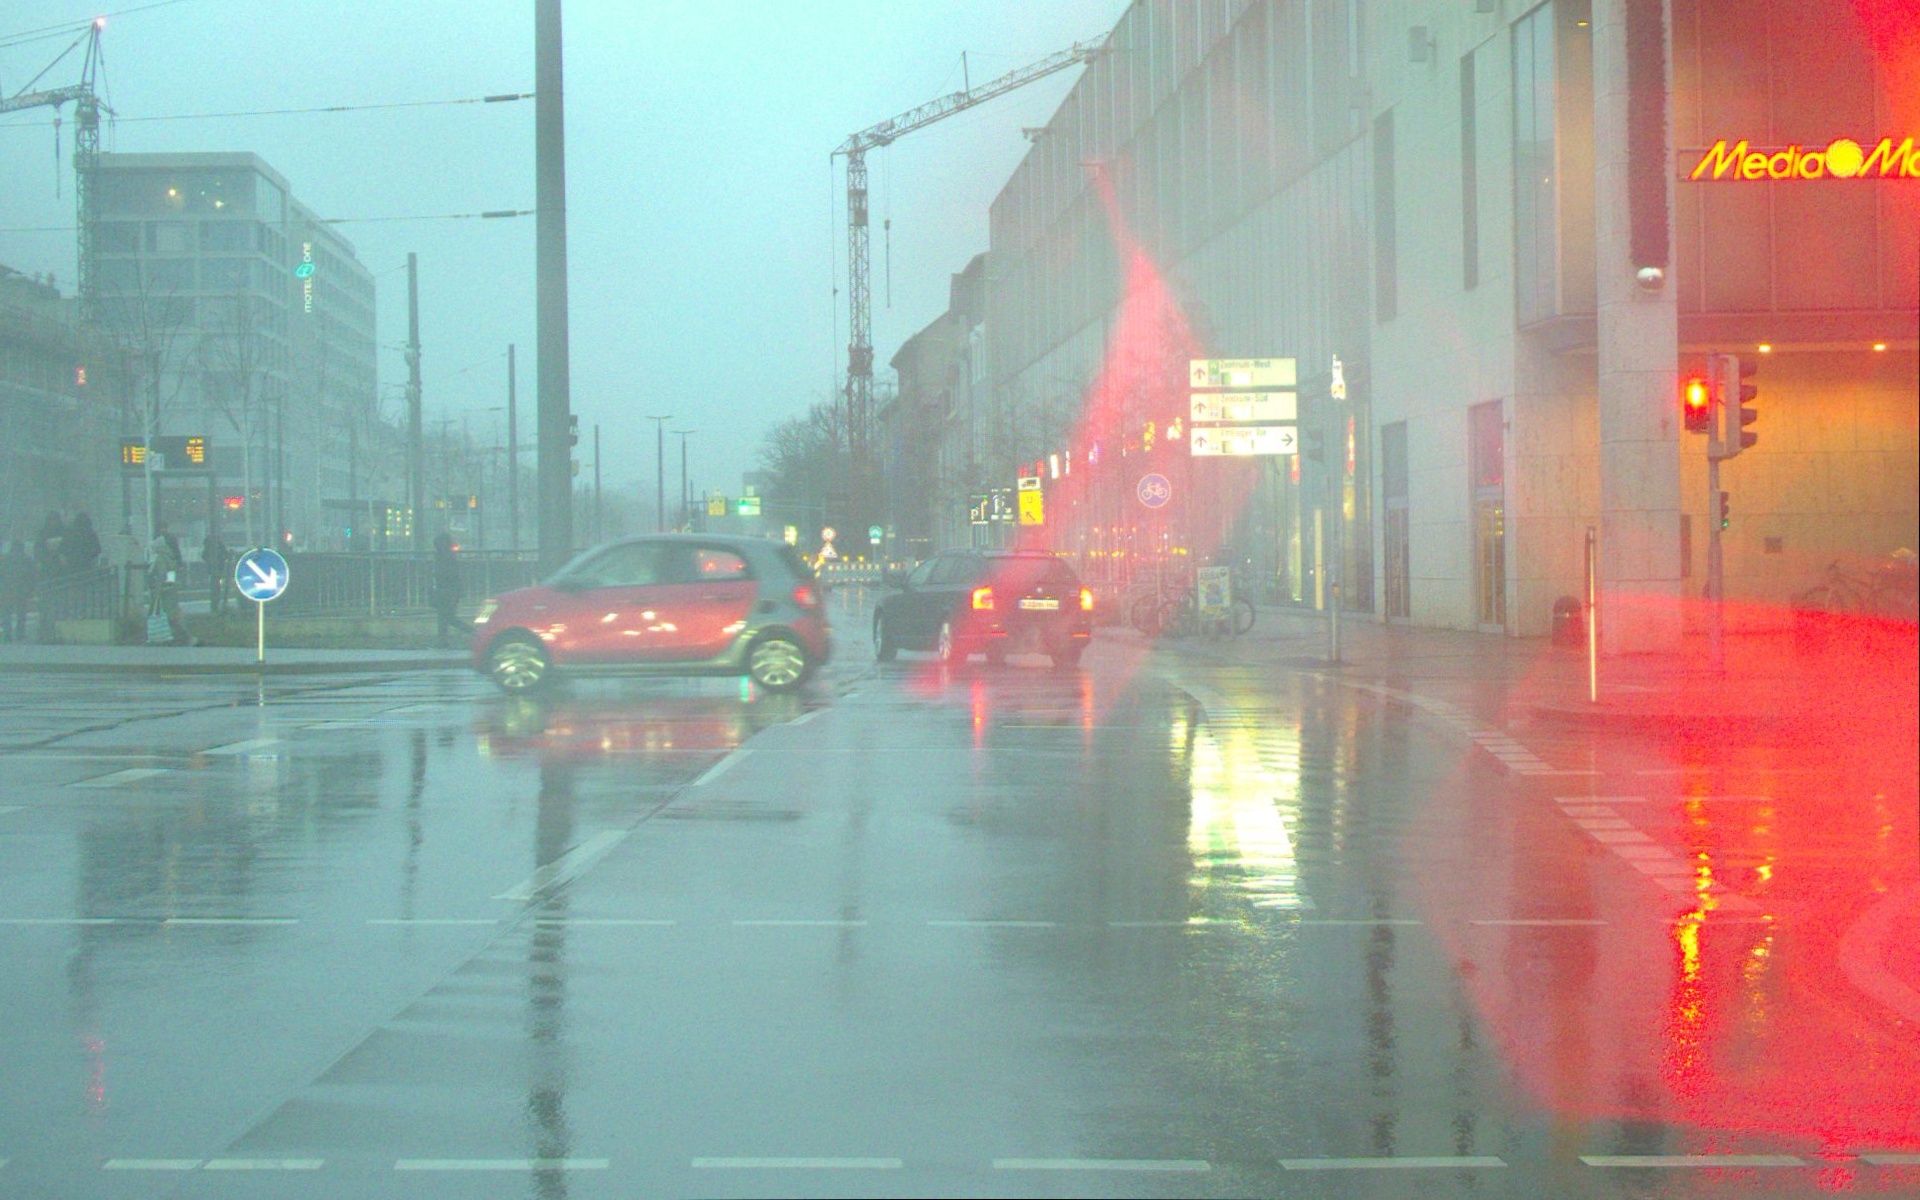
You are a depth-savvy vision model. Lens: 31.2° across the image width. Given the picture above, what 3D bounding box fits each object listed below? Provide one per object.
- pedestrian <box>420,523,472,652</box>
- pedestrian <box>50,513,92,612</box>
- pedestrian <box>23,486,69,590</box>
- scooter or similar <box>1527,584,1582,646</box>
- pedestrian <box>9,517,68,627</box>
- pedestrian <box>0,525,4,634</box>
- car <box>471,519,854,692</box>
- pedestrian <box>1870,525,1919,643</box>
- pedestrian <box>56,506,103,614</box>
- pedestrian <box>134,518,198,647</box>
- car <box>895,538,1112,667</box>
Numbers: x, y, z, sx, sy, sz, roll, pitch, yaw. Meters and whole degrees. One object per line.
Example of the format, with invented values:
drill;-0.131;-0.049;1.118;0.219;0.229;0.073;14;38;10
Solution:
pedestrian;-7.125;-0.177;47.703;0.633;1.766;0.484;-1;1;-2
pedestrian;-15.778;-0.660;61.026;0.611;1.740;0.621;-1;1;-6
pedestrian;-15.511;-1.049;58.355;0.660;1.740;0.736;-1;1;-11
scooter or similar;8.864;0.222;51.275;0.741;0.913;0.400;-1;1;1
pedestrian;-13.641;-0.414;50.876;0.743;1.602;0.812;-1;1;-20
pedestrian;-14.500;-0.297;50.900;0.611;1.613;0.709;-1;1;-18
car;-2.862;0.048;33.609;3.569;1.577;1.677;-1;0;0
pedestrian;13.637;-0.232;50.163;0.536;1.712;0.501;0;1;37
pedestrian;-14.272;-0.650;55.725;0.619;1.740;0.613;-1;1;-6
pedestrian;-10.999;-0.246;47.637;0.703;1.754;0.652;-1;1;-1
car;0.497;0.005;43.551;1.973;1.525;4.001;-1;1;-11
